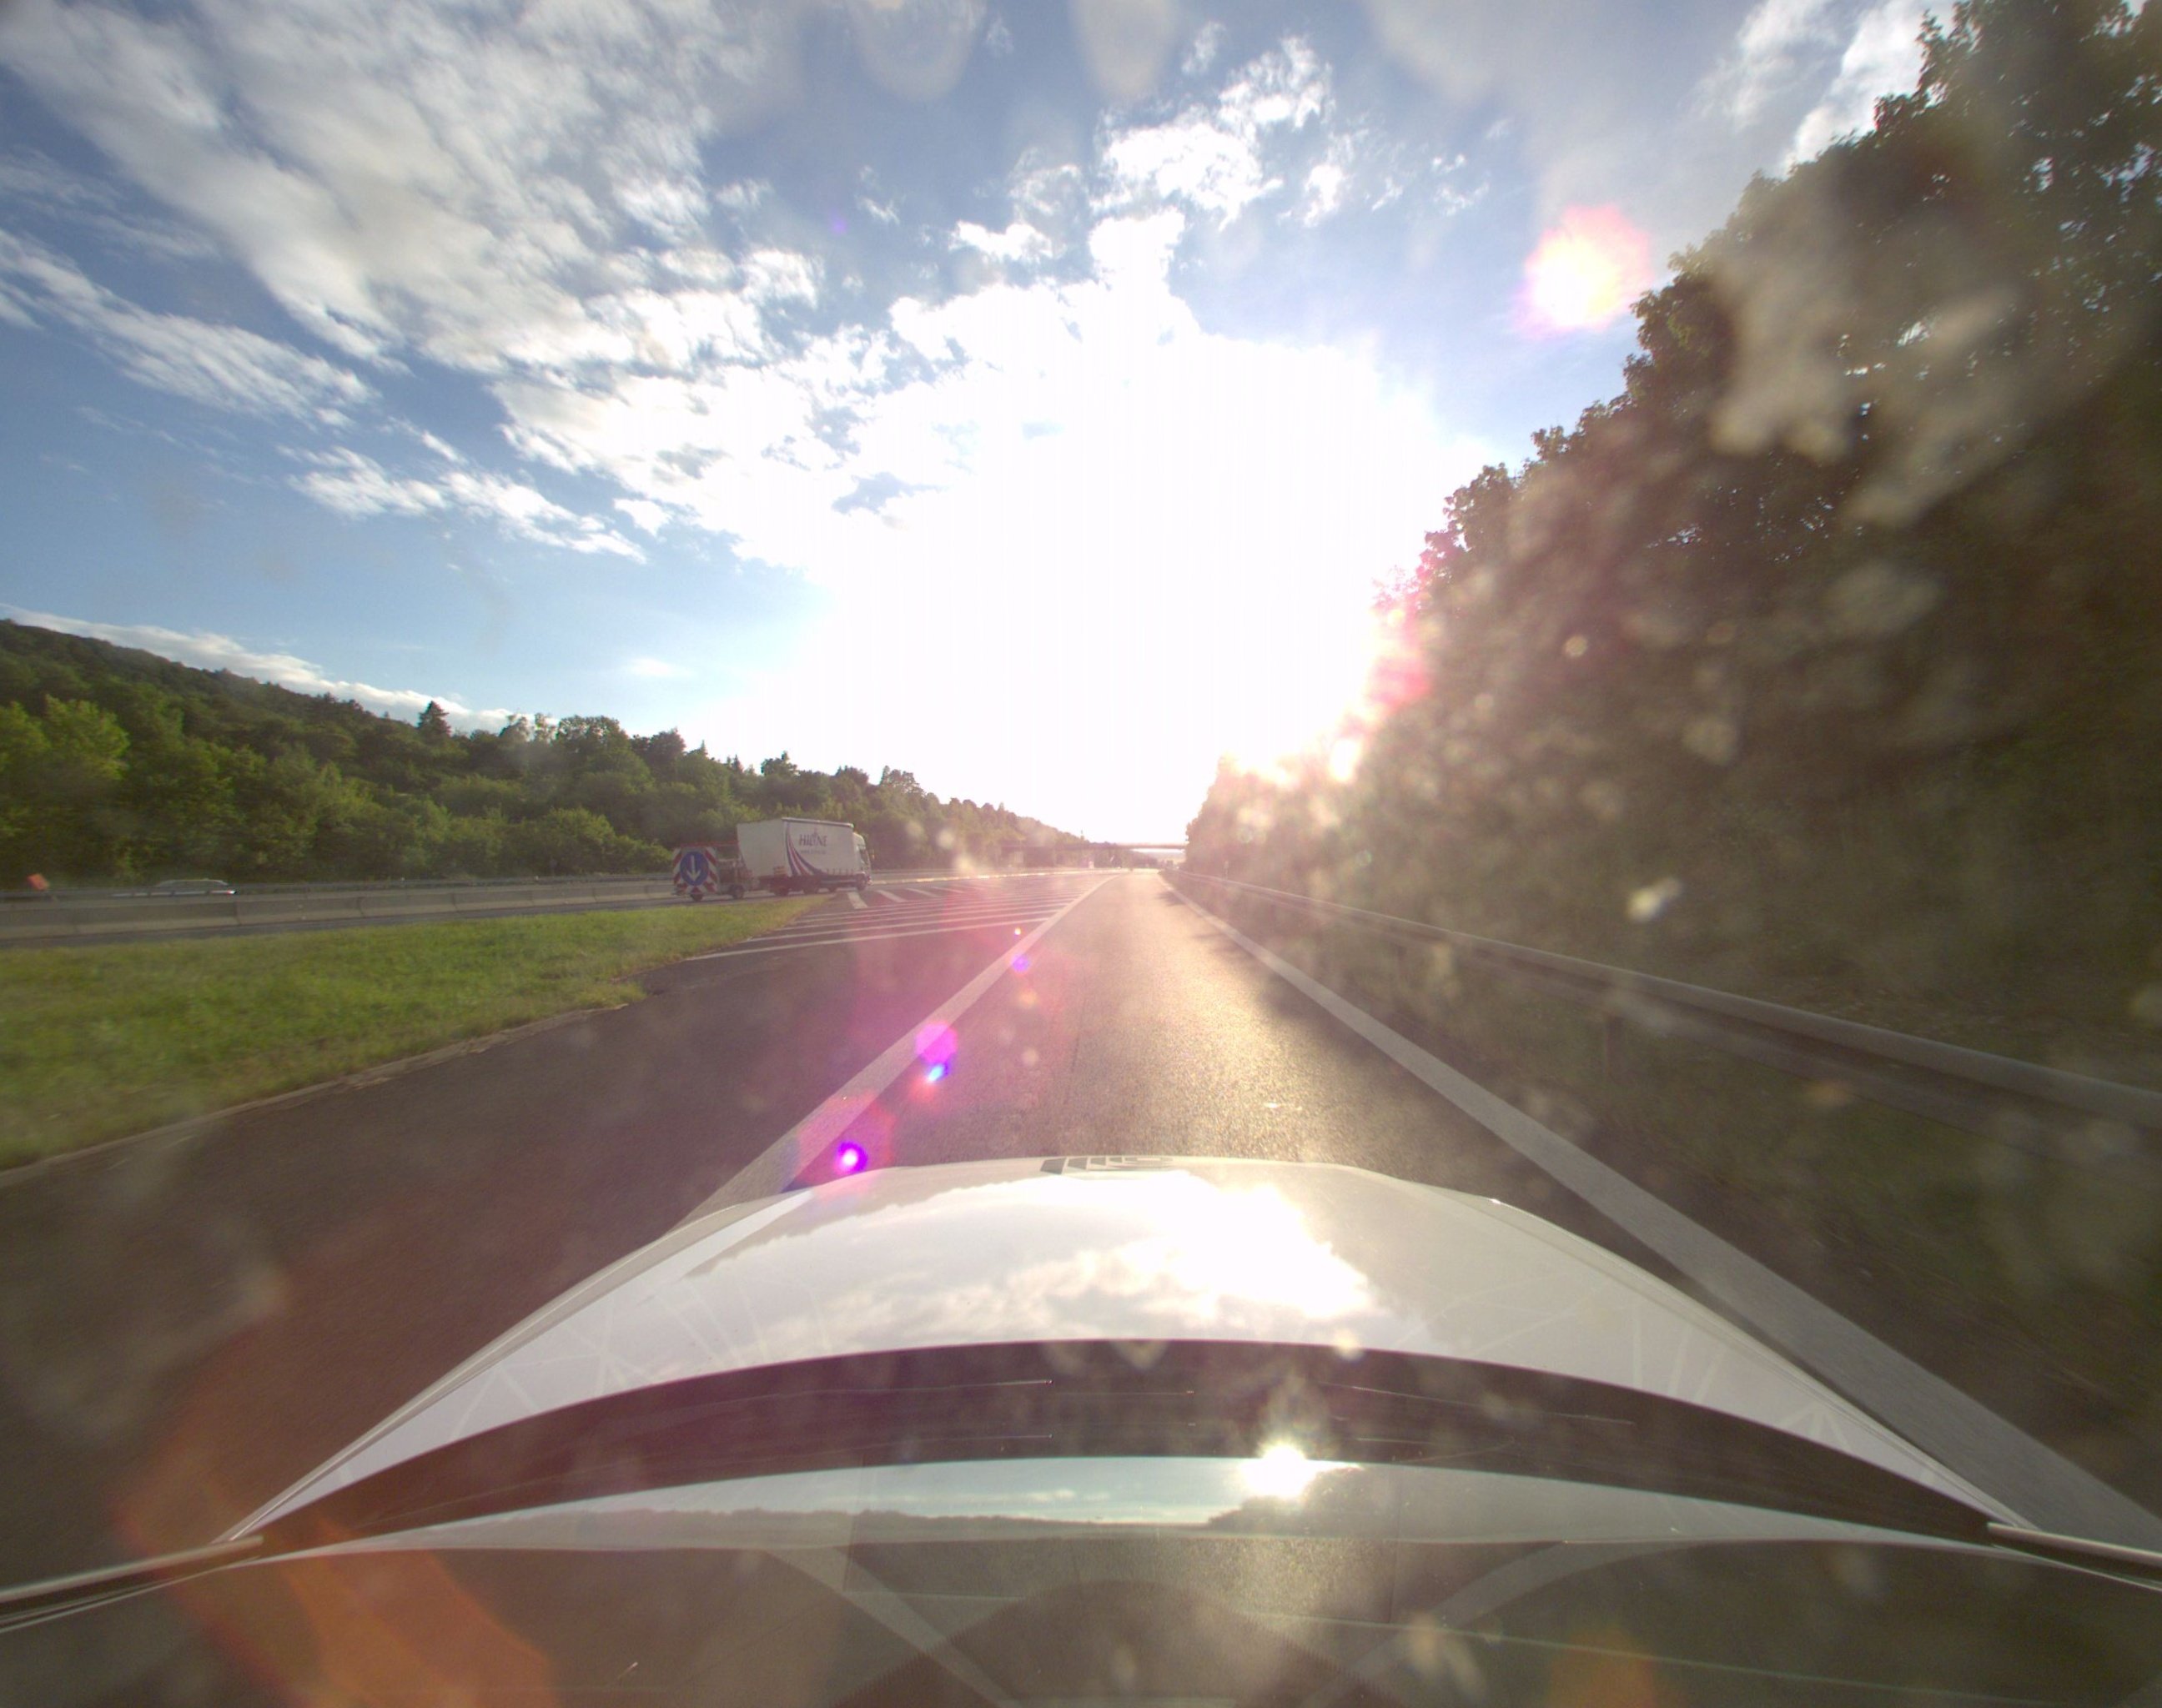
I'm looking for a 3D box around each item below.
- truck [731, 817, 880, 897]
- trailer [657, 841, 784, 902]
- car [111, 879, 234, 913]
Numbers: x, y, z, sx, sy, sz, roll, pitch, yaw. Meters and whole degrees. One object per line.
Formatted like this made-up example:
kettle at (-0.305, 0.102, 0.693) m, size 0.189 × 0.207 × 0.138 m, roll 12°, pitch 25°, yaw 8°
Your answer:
truck at (-14.484, 0.183, 44.002) m, size 2.900 × 3.789 × 9.700 m, roll -1°, pitch 0°, yaw 13°
trailer at (-16.182, 0.753, 36.932) m, size 2.900 × 2.578 × 4.833 m, roll -1°, pitch -1°, yaw 13°
car at (-47.171, 2.138, 42.407) m, size 1.611 × 1.579 × 4.011 m, roll -1°, pitch 0°, yaw 10°
